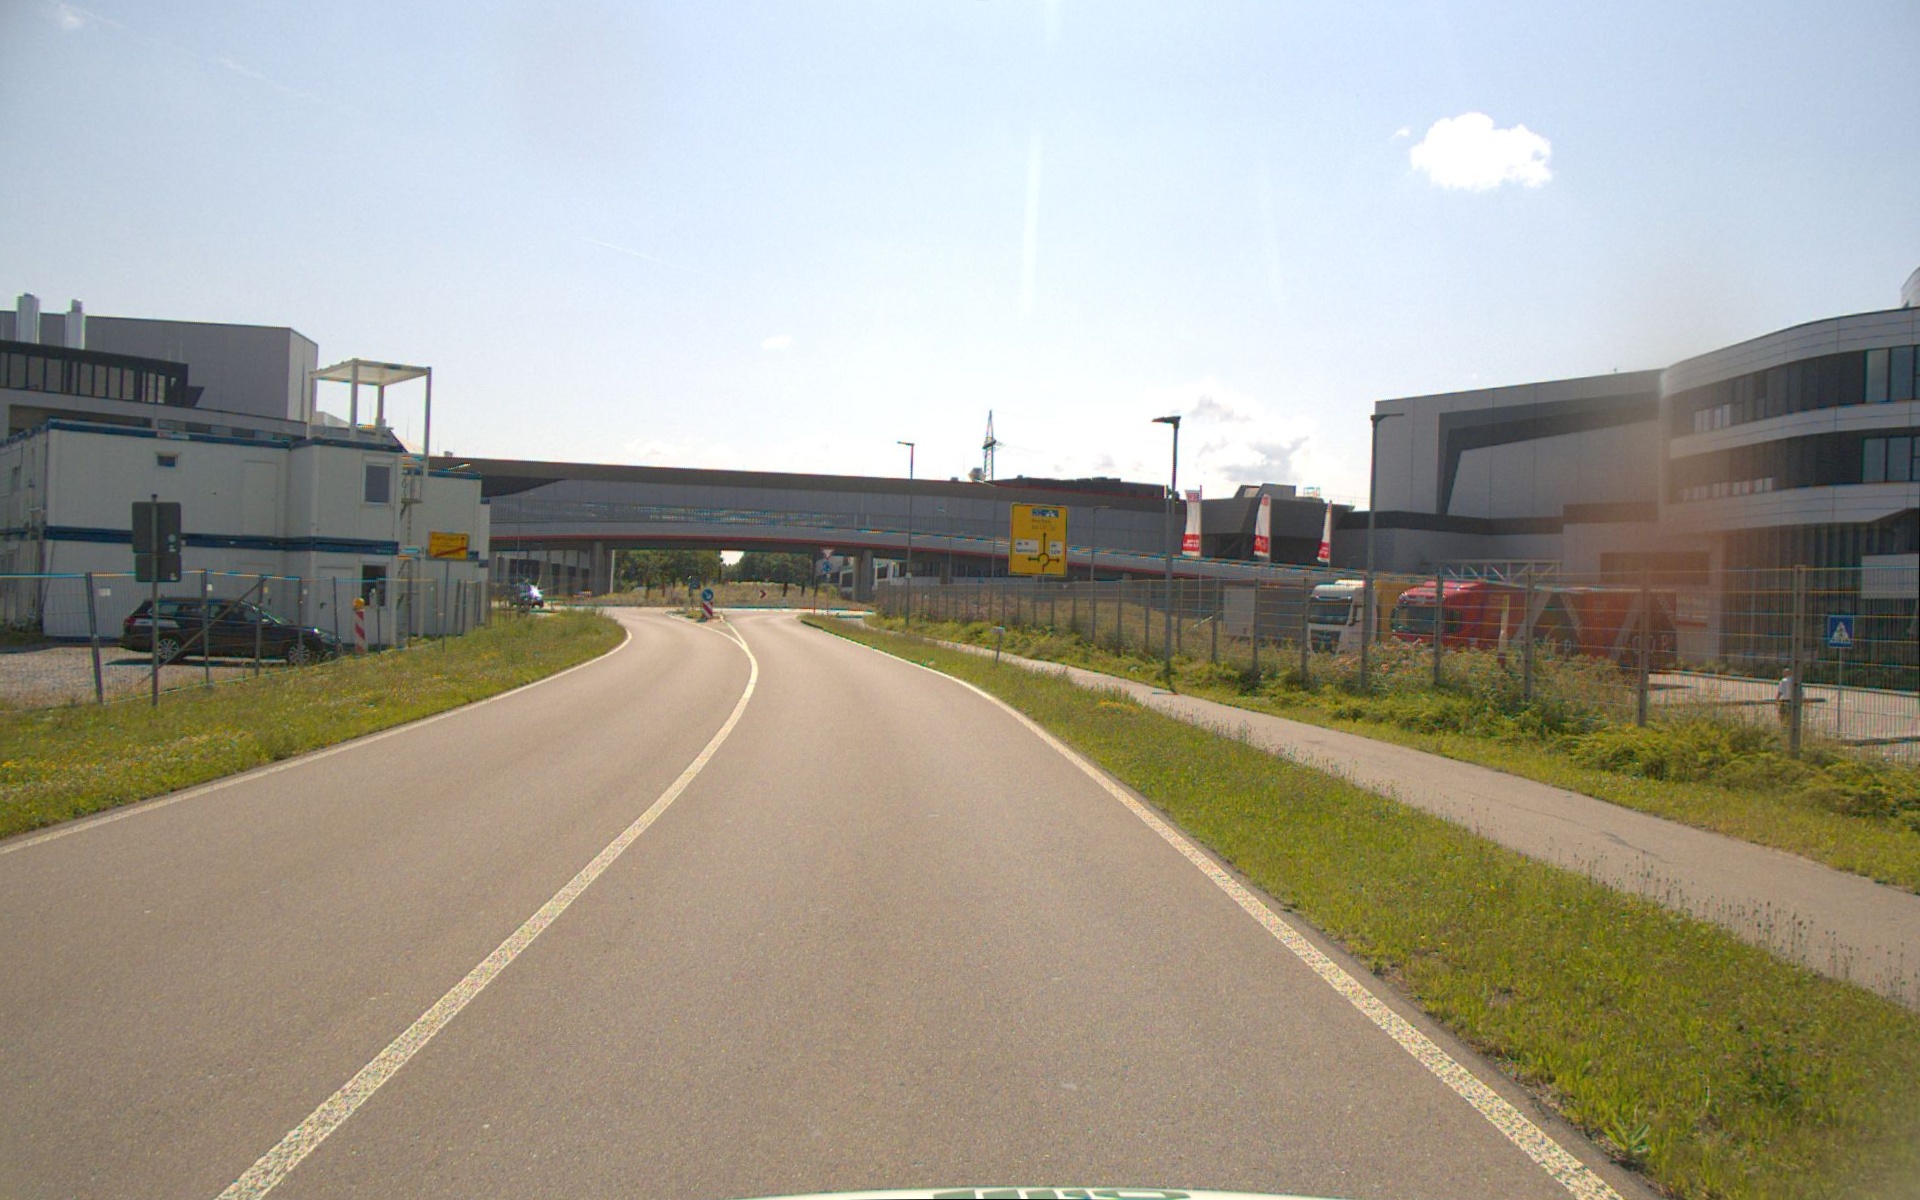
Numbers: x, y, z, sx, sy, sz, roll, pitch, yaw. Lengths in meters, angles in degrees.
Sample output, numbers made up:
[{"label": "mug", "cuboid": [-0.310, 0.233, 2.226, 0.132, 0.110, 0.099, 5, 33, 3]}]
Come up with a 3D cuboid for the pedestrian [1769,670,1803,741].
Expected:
[{"label": "pedestrian", "cuboid": [20.165, 2.575, 40.367, 0.473, 1.682, 0.574, 2, 0, -5]}]

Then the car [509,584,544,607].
[{"label": "car", "cuboid": [-28.672, -0.303, 109.349, 1.679, 1.508, 3.973, 1, 0, -22]}]

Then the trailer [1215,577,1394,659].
[{"label": "trailer", "cuboid": [20.430, 1.062, 97.065, 13.945, 4.516, 2.723, 1, -1, -43]}]

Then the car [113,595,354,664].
[{"label": "car", "cuboid": [-16.753, 0.676, 38.443, 4.892, 1.441, 1.990, 2, 0, -19]}]

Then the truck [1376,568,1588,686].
[{"label": "truck", "cuboid": [20.794, 1.051, 65.369, 10.880, 4.331, 2.982, 1, -1, -42]}]

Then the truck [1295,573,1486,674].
[{"label": "truck", "cuboid": [19.513, 1.041, 74.421, 10.877, 4.245, 2.780, 1, -1, -42]}]

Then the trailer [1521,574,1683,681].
[{"label": "trailer", "cuboid": [28.002, 1.167, 71.899, 8.639, 4.371, 2.983, 1, -1, -42]}]
